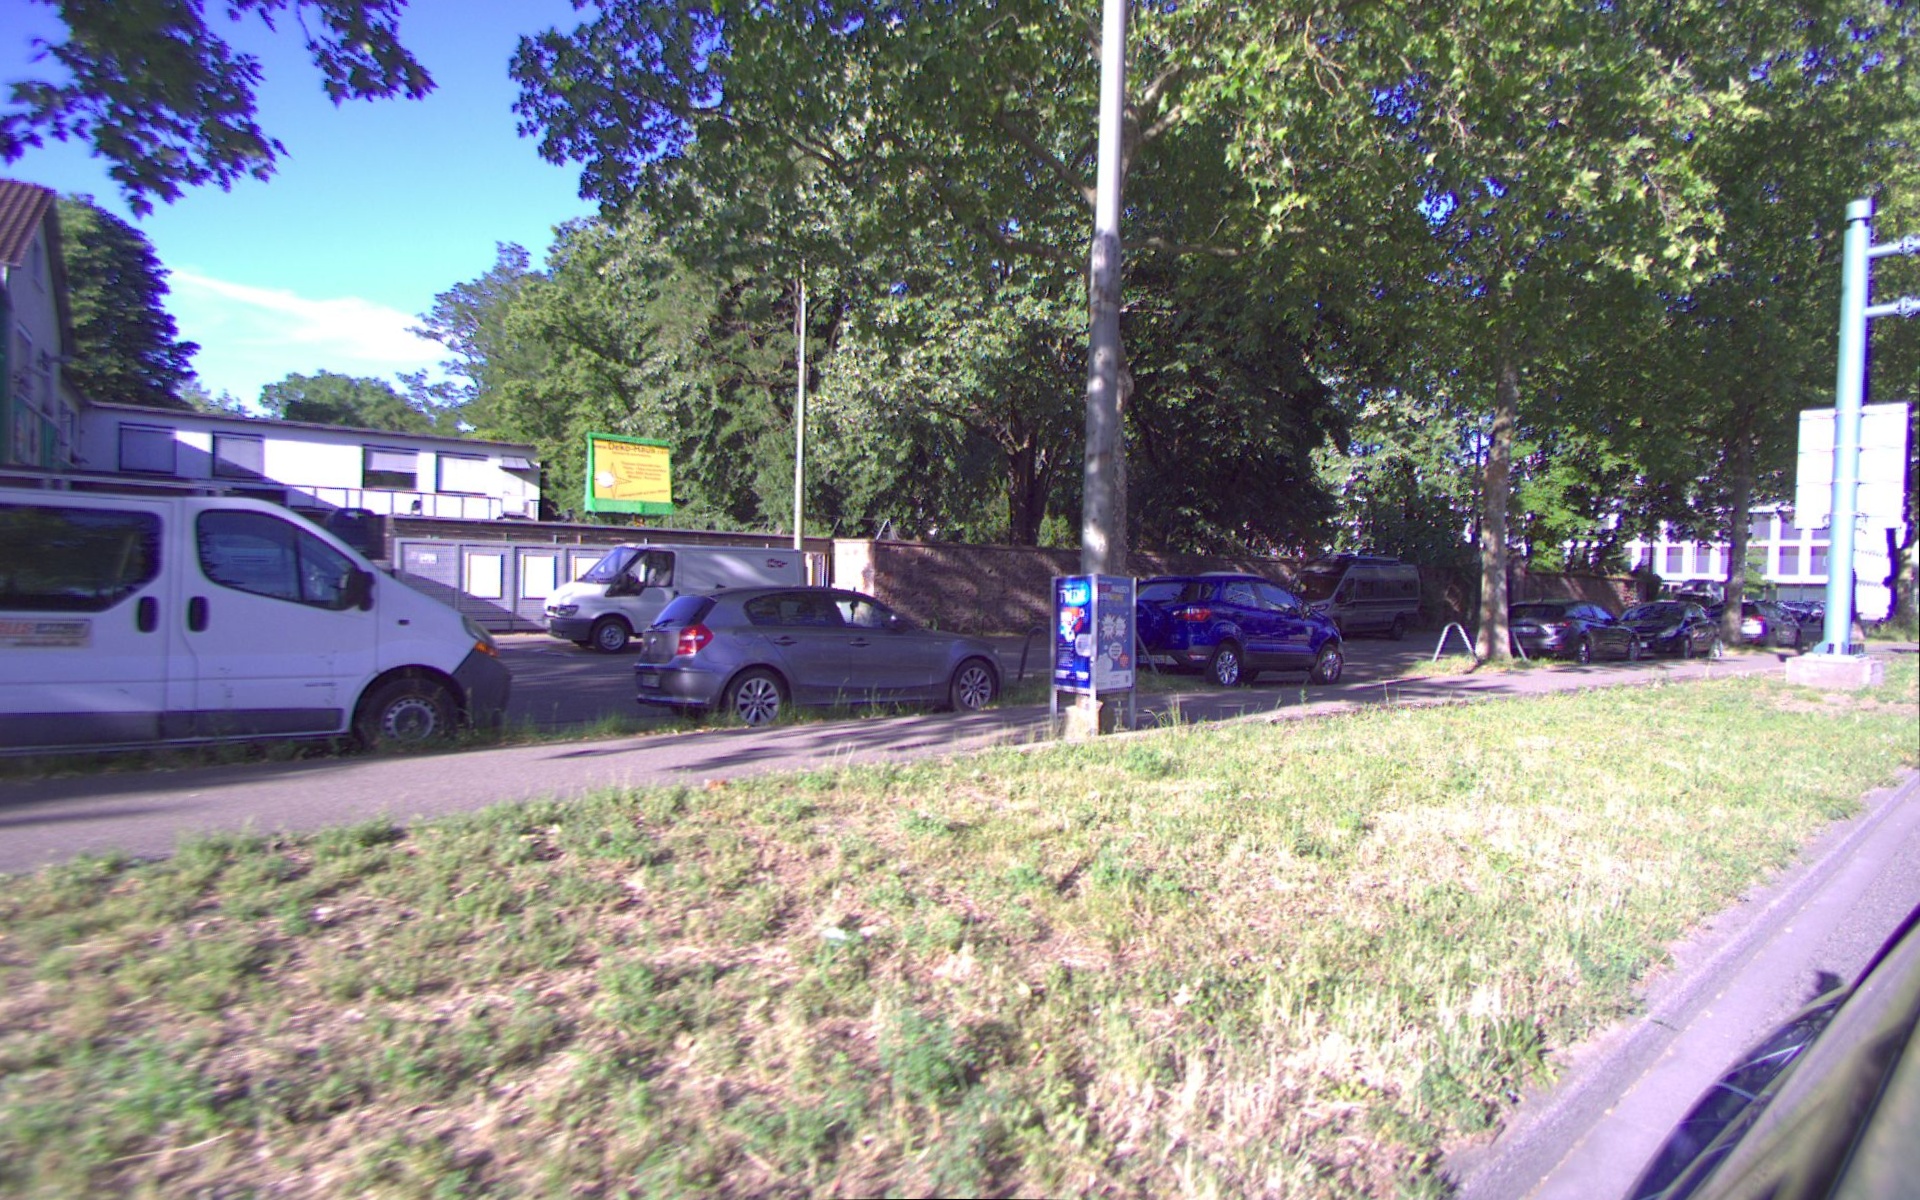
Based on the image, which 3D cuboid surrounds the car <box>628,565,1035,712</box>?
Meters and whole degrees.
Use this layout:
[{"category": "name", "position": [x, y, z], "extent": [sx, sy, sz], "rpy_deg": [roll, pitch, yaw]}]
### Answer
[{"category": "car", "position": [-1.306, 0.315, 11.053], "extent": [3.980, 1.306, 1.998], "rpy_deg": [-1, 1, -39]}]

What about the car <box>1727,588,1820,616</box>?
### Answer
[{"category": "car", "position": [54.302, 0.118, 67.621], "extent": [1.963, 1.427, 4.397], "rpy_deg": [0, 6, -37]}]

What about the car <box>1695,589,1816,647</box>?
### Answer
[{"category": "car", "position": [22.942, 0.487, 29.159], "extent": [3.946, 1.580, 1.797], "rpy_deg": [-1, -1, -38]}]

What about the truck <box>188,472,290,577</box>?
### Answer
[{"category": "truck", "position": [-24.706, -2.501, 34.802], "extent": [2.662, 3.311, 2.491], "rpy_deg": [1, 0, -33]}]

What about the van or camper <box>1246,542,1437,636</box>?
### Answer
[{"category": "van or camper", "position": [12.493, -0.365, 32.949], "extent": [6.440, 2.716, 2.566], "rpy_deg": [1, 3, -36]}]

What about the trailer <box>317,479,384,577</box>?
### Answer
[{"category": "trailer", "position": [-25.535, -2.800, 42.345], "extent": [2.181, 3.608, 8.761], "rpy_deg": [0, 1, -32]}]

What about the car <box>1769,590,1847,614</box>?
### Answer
[{"category": "car", "position": [62.818, 0.124, 75.021], "extent": [1.685, 1.485, 4.091], "rpy_deg": [0, 4, -39]}]

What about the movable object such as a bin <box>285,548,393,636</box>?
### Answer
[{"category": "movable object such as a bin", "position": [-11.537, -0.173, 18.782], "extent": [1.460, 1.487, 1.647], "rpy_deg": [0, 4, -41]}]

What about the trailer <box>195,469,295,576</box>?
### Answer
[{"category": "trailer", "position": [-27.625, -2.767, 39.417], "extent": [2.631, 3.608, 8.821], "rpy_deg": [0, 1, -32]}]

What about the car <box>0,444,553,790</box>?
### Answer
[{"category": "car", "position": [-6.098, 0.085, 7.014], "extent": [5.716, 2.039, 2.195], "rpy_deg": [-1, 1, -39]}]

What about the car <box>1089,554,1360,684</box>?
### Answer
[{"category": "car", "position": [4.016, 0.215, 15.028], "extent": [4.275, 1.662, 1.740], "rpy_deg": [-1, 1, -39]}]

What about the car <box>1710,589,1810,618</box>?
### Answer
[{"category": "car", "position": [52.045, 0.224, 65.936], "extent": [1.964, 1.422, 4.733], "rpy_deg": [0, 5, -40]}]

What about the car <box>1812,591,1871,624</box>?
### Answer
[{"category": "car", "position": [46.808, 0.348, 53.824], "extent": [1.988, 1.660, 3.948], "rpy_deg": [0, 1, 36]}]

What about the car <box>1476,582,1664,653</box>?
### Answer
[{"category": "car", "position": [13.428, 0.337, 22.180], "extent": [4.591, 1.399, 1.999], "rpy_deg": [0, 0, -37]}]

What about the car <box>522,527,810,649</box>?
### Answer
[{"category": "car", "position": [-5.512, -0.235, 19.275], "extent": [4.849, 2.039, 2.094], "rpy_deg": [0, 1, -36]}]

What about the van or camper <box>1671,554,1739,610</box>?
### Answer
[{"category": "van or camper", "position": [40.335, -0.989, 54.751], "extent": [4.882, 2.763, 1.997], "rpy_deg": [-1, 5, -44]}]

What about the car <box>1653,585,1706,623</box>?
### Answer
[{"category": "car", "position": [36.217, 0.167, 50.893], "extent": [1.838, 1.637, 3.944], "rpy_deg": [7, 5, 38]}]

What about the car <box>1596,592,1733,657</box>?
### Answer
[{"category": "car", "position": [17.494, 0.548, 25.075], "extent": [3.814, 1.456, 1.797], "rpy_deg": [-1, 1, -39]}]

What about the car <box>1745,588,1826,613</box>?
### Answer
[{"category": "car", "position": [58.597, 0.025, 71.887], "extent": [1.752, 1.516, 4.197], "rpy_deg": [0, 3, -43]}]

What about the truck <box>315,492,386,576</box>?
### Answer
[{"category": "truck", "position": [-22.623, -2.386, 37.608], "extent": [2.187, 2.951, 2.904], "rpy_deg": [0, 0, -32]}]
